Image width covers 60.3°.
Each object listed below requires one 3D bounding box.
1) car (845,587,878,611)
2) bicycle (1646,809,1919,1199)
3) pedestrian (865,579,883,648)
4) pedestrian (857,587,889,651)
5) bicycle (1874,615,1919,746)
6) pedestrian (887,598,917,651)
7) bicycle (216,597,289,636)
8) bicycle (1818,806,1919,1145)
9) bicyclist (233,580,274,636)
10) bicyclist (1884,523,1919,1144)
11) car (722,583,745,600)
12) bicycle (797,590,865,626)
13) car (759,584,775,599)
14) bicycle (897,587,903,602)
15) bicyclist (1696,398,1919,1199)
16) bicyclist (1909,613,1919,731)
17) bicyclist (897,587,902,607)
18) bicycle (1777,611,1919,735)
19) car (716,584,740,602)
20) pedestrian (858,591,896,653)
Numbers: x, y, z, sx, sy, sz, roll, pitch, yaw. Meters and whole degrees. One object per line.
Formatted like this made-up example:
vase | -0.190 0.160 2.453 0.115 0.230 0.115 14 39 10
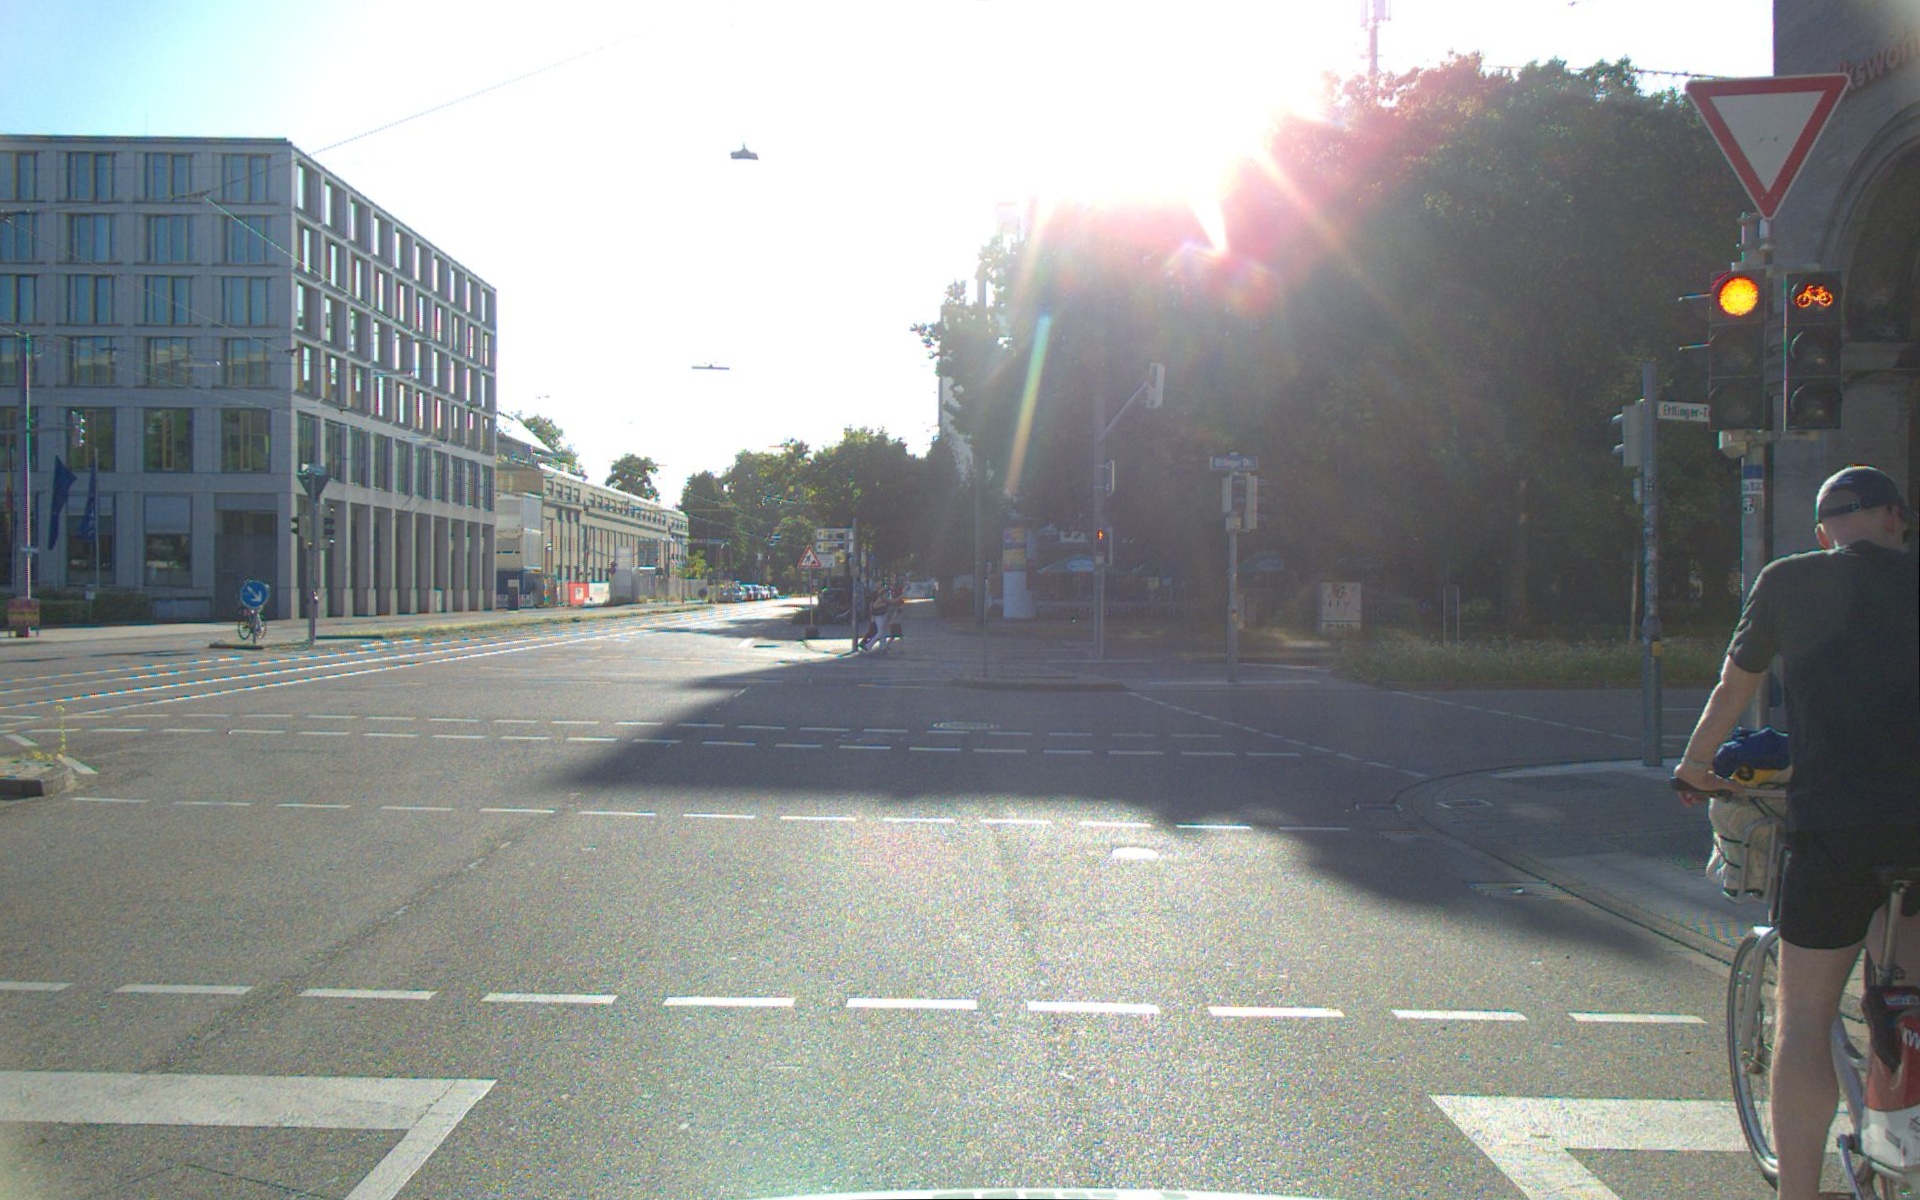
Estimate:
car | -5.479 -0.062 92.497 1.783 1.301 3.998 0 0 -3
bicycle | 2.111 1.089 3.948 0.381 0.921 1.952 0 0 8
pedestrian | -2.311 0.366 44.558 0.353 1.836 0.507 0 0 11
pedestrian | -2.298 0.503 43.787 0.779 1.668 0.533 0 0 2
bicycle | 10.587 0.818 17.142 1.814 1.314 0.791 0 0 -4
pedestrian | -1.524 0.639 43.279 0.737 1.356 0.742 0 0 0
bicycle | -21.133 0.479 49.487 0.857 1.140 3.013 0 0 0
bicycle | 2.937 1.109 4.314 0.418 0.891 1.951 0 0 1
bicyclist | -21.152 0.243 49.533 0.857 1.670 0.822 0 0 0
bicyclist | 2.884 0.644 4.286 0.511 1.709 0.859 0 0 2
car | -21.863 -0.817 159.782 1.695 1.682 3.999 0 0 -1
bicycle | -5.226 0.333 67.049 2.688 1.391 0.631 1 -1 10
car | -22.649 -0.982 194.053 1.453 1.780 3.999 0 0 -1
bicycle | -3.571 -0.317 98.421 0.317 0.883 1.483 0 0 -1
bicyclist | 2.131 0.429 3.764 0.655 1.707 0.657 0 0 6
bicyclist | 10.526 0.754 17.143 0.906 1.240 0.796 0 0 -4
bicyclist | -3.585 -0.176 98.219 0.312 1.147 0.291 0 0 -1
bicycle | 10.152 0.787 18.210 1.945 1.314 0.791 0 0 -3
car | -21.849 -0.647 155.716 1.695 1.682 3.999 0 0 -1
pedestrian | -2.167 0.570 43.299 0.964 1.615 0.660 0 -1 1
